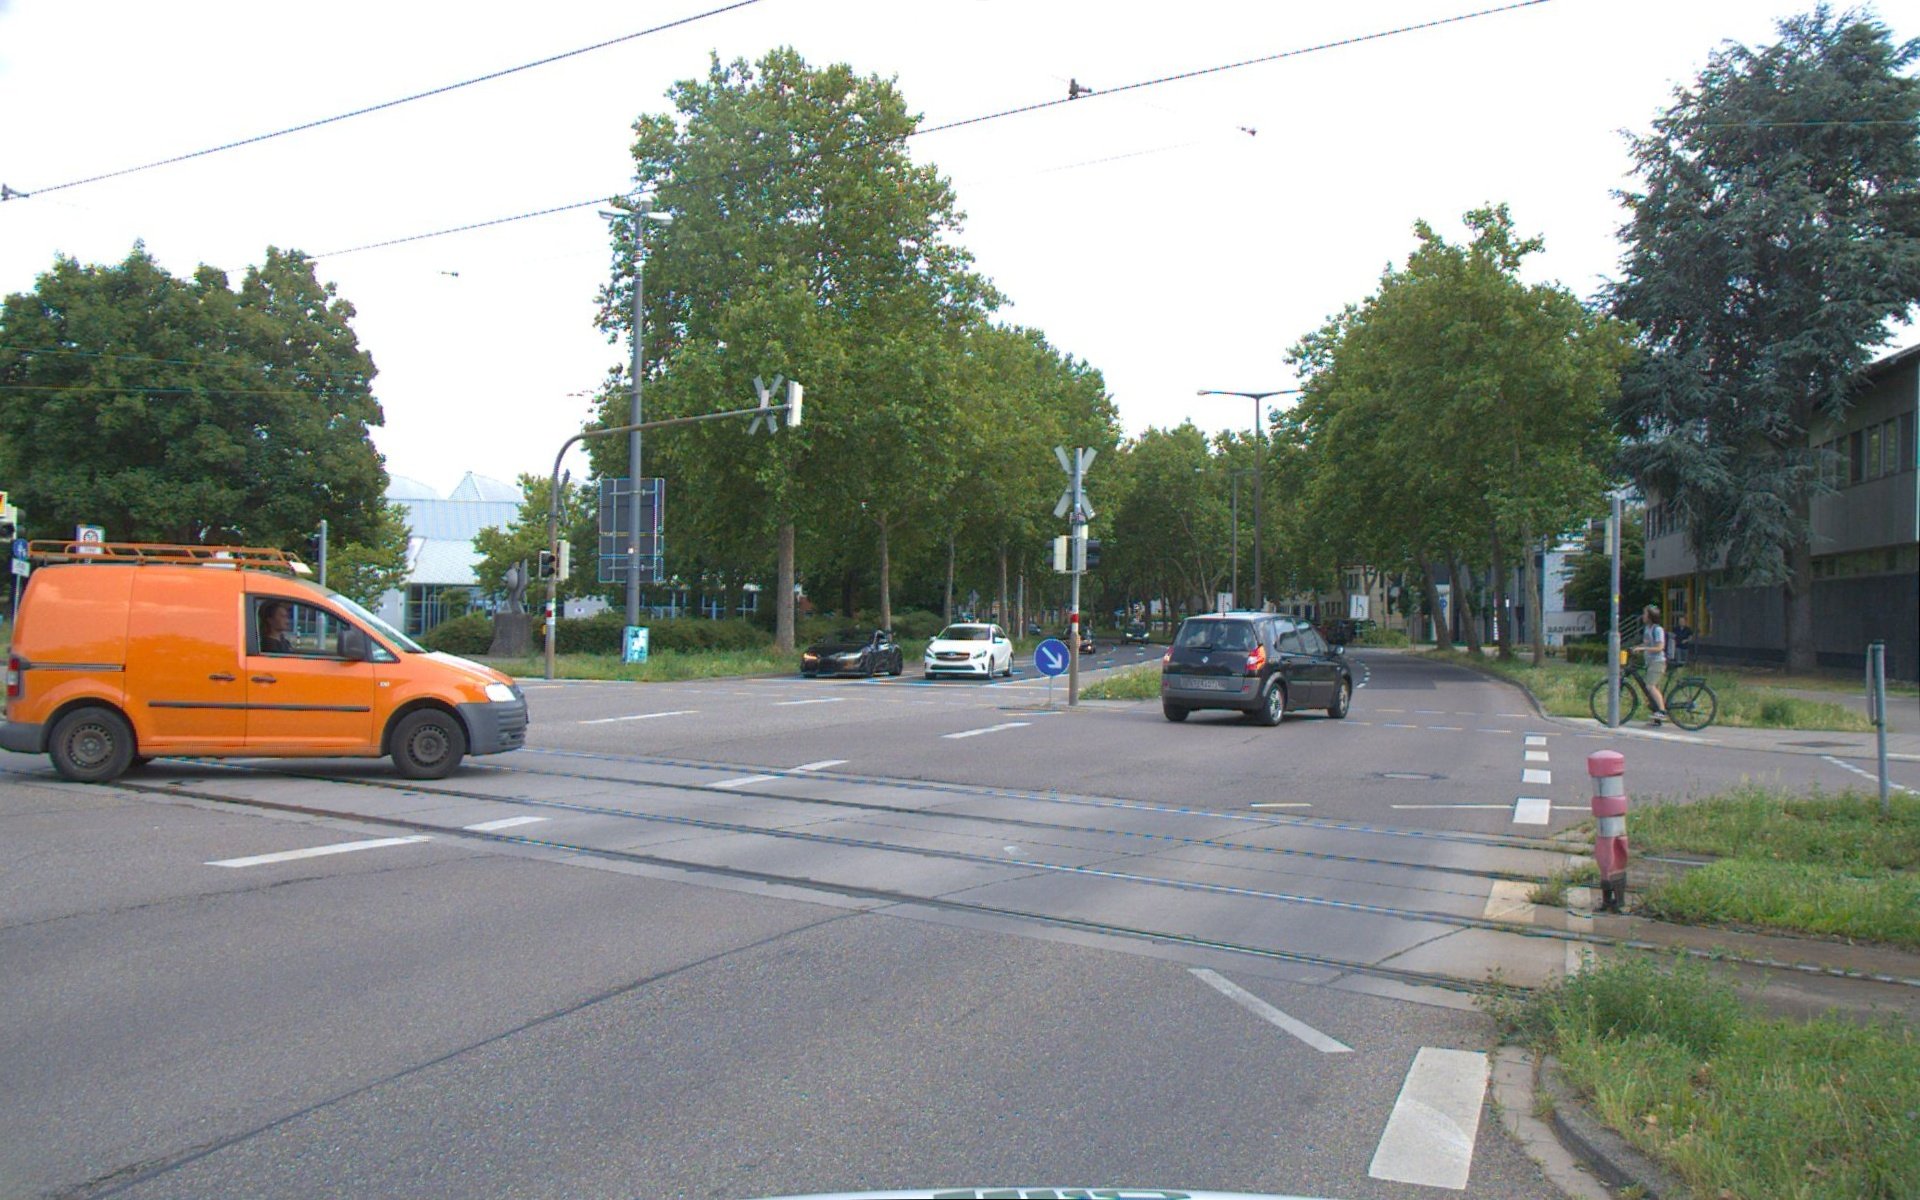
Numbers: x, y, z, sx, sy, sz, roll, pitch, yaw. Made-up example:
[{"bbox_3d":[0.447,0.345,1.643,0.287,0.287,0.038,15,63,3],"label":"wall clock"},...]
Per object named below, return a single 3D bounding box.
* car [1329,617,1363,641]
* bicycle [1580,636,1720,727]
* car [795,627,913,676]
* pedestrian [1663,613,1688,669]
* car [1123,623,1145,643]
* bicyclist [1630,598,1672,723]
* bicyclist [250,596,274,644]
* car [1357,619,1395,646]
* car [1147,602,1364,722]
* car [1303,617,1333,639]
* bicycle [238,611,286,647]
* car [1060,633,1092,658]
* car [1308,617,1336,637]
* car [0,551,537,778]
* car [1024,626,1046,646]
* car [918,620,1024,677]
[{"bbox_3d":[29.188,2.176,125.220,1.951,1.601,4.003,0,1,6],"label":"car"},{"bbox_3d":[10.388,1.211,24.906,1.908,1.257,0.540,1,1,27],"label":"bicycle"},{"bbox_3d":[-2.773,1.344,44.060,1.602,1.212,3.706,1,-1,24],"label":"car"},{"bbox_3d":[20.854,1.180,48.200,0.607,1.597,0.559,0,1,17],"label":"pedestrian"},{"bbox_3d":[13.026,2.430,123.454,1.621,1.293,3.774,0,1,6],"label":"car"},{"bbox_3d":[10.401,0.893,24.895,0.532,1.841,0.540,1,1,26],"label":"bicyclist"},{"bbox_3d":[-23.624,0.679,55.989,0.543,1.581,0.487,2,0,0],"label":"bicyclist"},{"bbox_3d":[28.452,2.206,113.232,1.951,1.601,4.003,0,1,6],"label":"car"},{"bbox_3d":[4.543,0.890,24.990,1.700,1.659,4.038,0,-1,35],"label":"car"},{"bbox_3d":[28.898,2.212,133.688,1.951,1.601,4.003,0,1,6],"label":"car"},{"bbox_3d":[-23.621,0.977,55.986,1.347,1.150,0.562,2,-2,0],"label":"bicycle"},{"bbox_3d":[6.098,2.391,87.202,1.600,1.212,3.710,1,0,4],"label":"car"},{"bbox_3d":[31.565,2.333,144.259,1.951,1.601,4.003,0,1,6],"label":"car"},{"bbox_3d":[-6.026,0.567,14.779,4.282,1.831,1.877,1,-1,-14],"label":"car"},{"bbox_3d":[7.845,3.748,173.705,1.953,2.049,3.999,1,0,-1],"label":"car"},{"bbox_3d":[0.340,1.252,43.808,1.786,1.388,4.140,1,-1,15],"label":"car"}]
